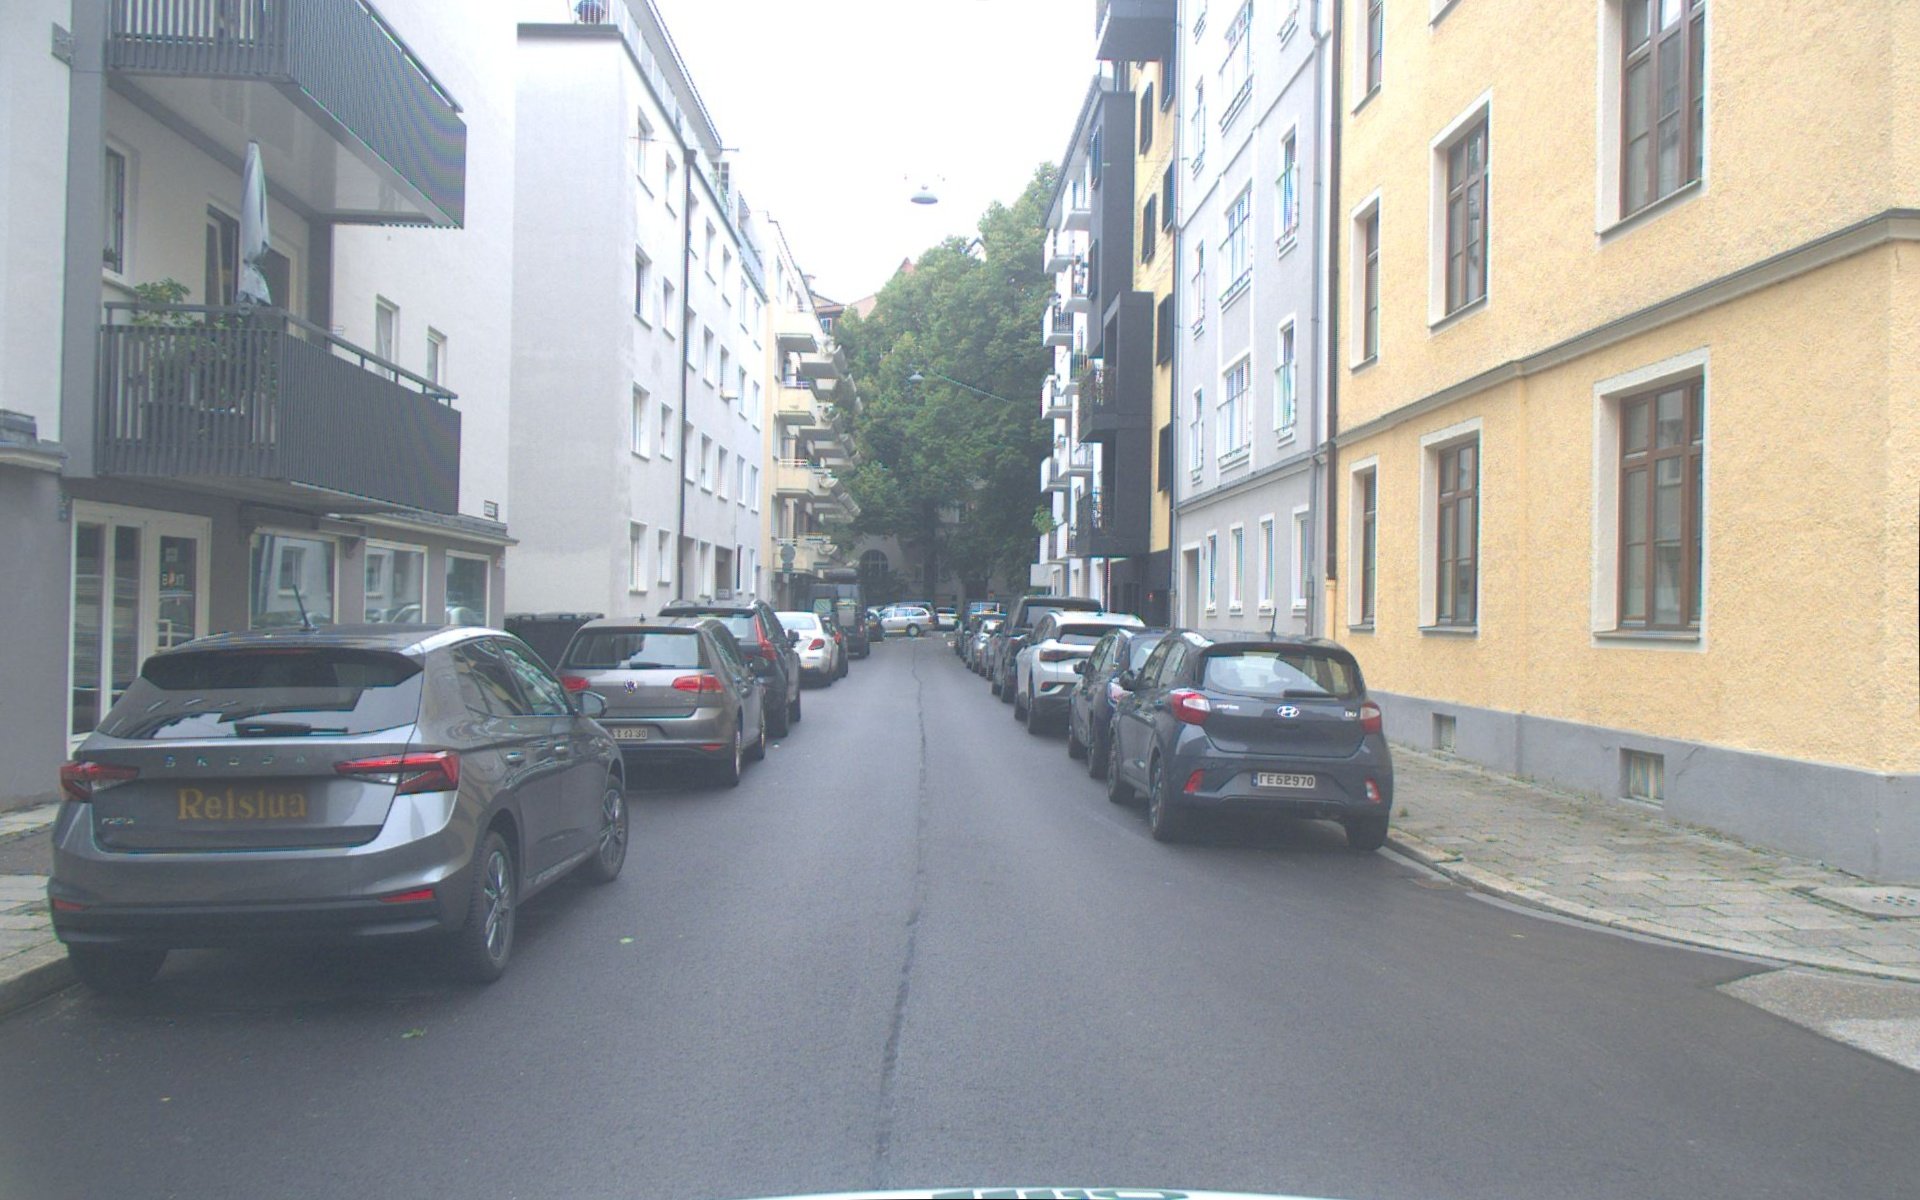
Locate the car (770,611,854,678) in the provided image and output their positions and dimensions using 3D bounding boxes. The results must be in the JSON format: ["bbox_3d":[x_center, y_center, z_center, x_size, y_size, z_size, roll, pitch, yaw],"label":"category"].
[{"bbox_3d":[-3.497,1.026,39.669,1.741,1.478,4.044,-2,0,-2],"label":"car"}]

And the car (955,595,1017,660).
[{"bbox_3d":[0.870,0.936,57.365,1.793,2.034,4.413,4,-1,-2],"label":"car"}]

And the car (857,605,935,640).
[{"bbox_3d":[-3.208,1.111,83.001,3.808,1.612,1.646,-2,0,-3],"label":"car"}]

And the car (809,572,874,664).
[{"bbox_3d":[-3.852,0.581,54.297,1.898,2.851,4.530,-2,0,-2],"label":"car"}]

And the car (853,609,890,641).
[{"bbox_3d":[-4.079,1.151,76.862,1.609,1.408,3.481,-2,0,-2],"label":"car"}]

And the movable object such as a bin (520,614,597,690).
[{"bbox_3d":[-7.438,0.950,30.692,1.142,1.360,1.025,-1,-1,1],"label":"movable object such as a bin"}]

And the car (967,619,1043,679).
[{"bbox_3d":[1.225,1.341,46.885,1.793,1.479,4.413,4,-1,-2],"label":"car"}]

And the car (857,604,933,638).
[{"bbox_3d":[-3.345,1.070,84.969,3.808,1.612,1.646,-2,0,-3],"label":"car"}]

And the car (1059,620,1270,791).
[{"bbox_3d":[2.065,1.031,17.673,1.630,1.495,3.817,3,0,-1],"label":"car"}]

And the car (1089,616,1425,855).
[{"bbox_3d":[2.196,0.945,13.424,1.716,1.495,4.341,4,0,-2],"label":"car"}]

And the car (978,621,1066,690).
[{"bbox_3d":[1.506,1.340,41.490,1.793,1.479,4.413,4,-1,-2],"label":"car"}]

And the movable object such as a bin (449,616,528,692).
[{"bbox_3d":[-8.657,0.982,30.419,1.134,1.360,0.993,-1,-1,1],"label":"movable object such as a bin"}]

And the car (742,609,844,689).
[{"bbox_3d":[-3.421,0.965,34.607,1.741,1.513,4.518,-2,0,-1],"label":"car"}]

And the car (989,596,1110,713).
[{"bbox_3d":[1.589,0.954,30.859,1.792,1.943,4.414,3,0,-2],"label":"car"}]

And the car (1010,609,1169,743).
[{"bbox_3d":[1.714,0.976,23.222,1.648,1.595,4.413,3,0,-2],"label":"car"}]

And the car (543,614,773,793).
[{"bbox_3d":[-2.732,0.875,15.738,1.659,1.467,3.974,0,0,-3],"label":"car"}]

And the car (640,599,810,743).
[{"bbox_3d":[-2.930,0.834,21.426,1.741,1.658,4.412,0,0,-2],"label":"car"}]

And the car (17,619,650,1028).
[{"bbox_3d":[-2.672,0.841,8.067,1.658,1.467,3.941,0,0,-1],"label":"car"}]

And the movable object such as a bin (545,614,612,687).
[{"bbox_3d":[-7.322,0.954,31.773,1.026,1.360,0.993,-1,-1,1],"label":"movable object such as a bin"}]

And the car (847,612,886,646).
[{"bbox_3d":[-4.125,1.258,73.053,1.609,1.408,3.481,-2,0,-2],"label":"car"}]

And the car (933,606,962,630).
[{"bbox_3d":[-0.747,1.079,100.192,1.609,1.408,3.744,-2,0,-2],"label":"car"}]
